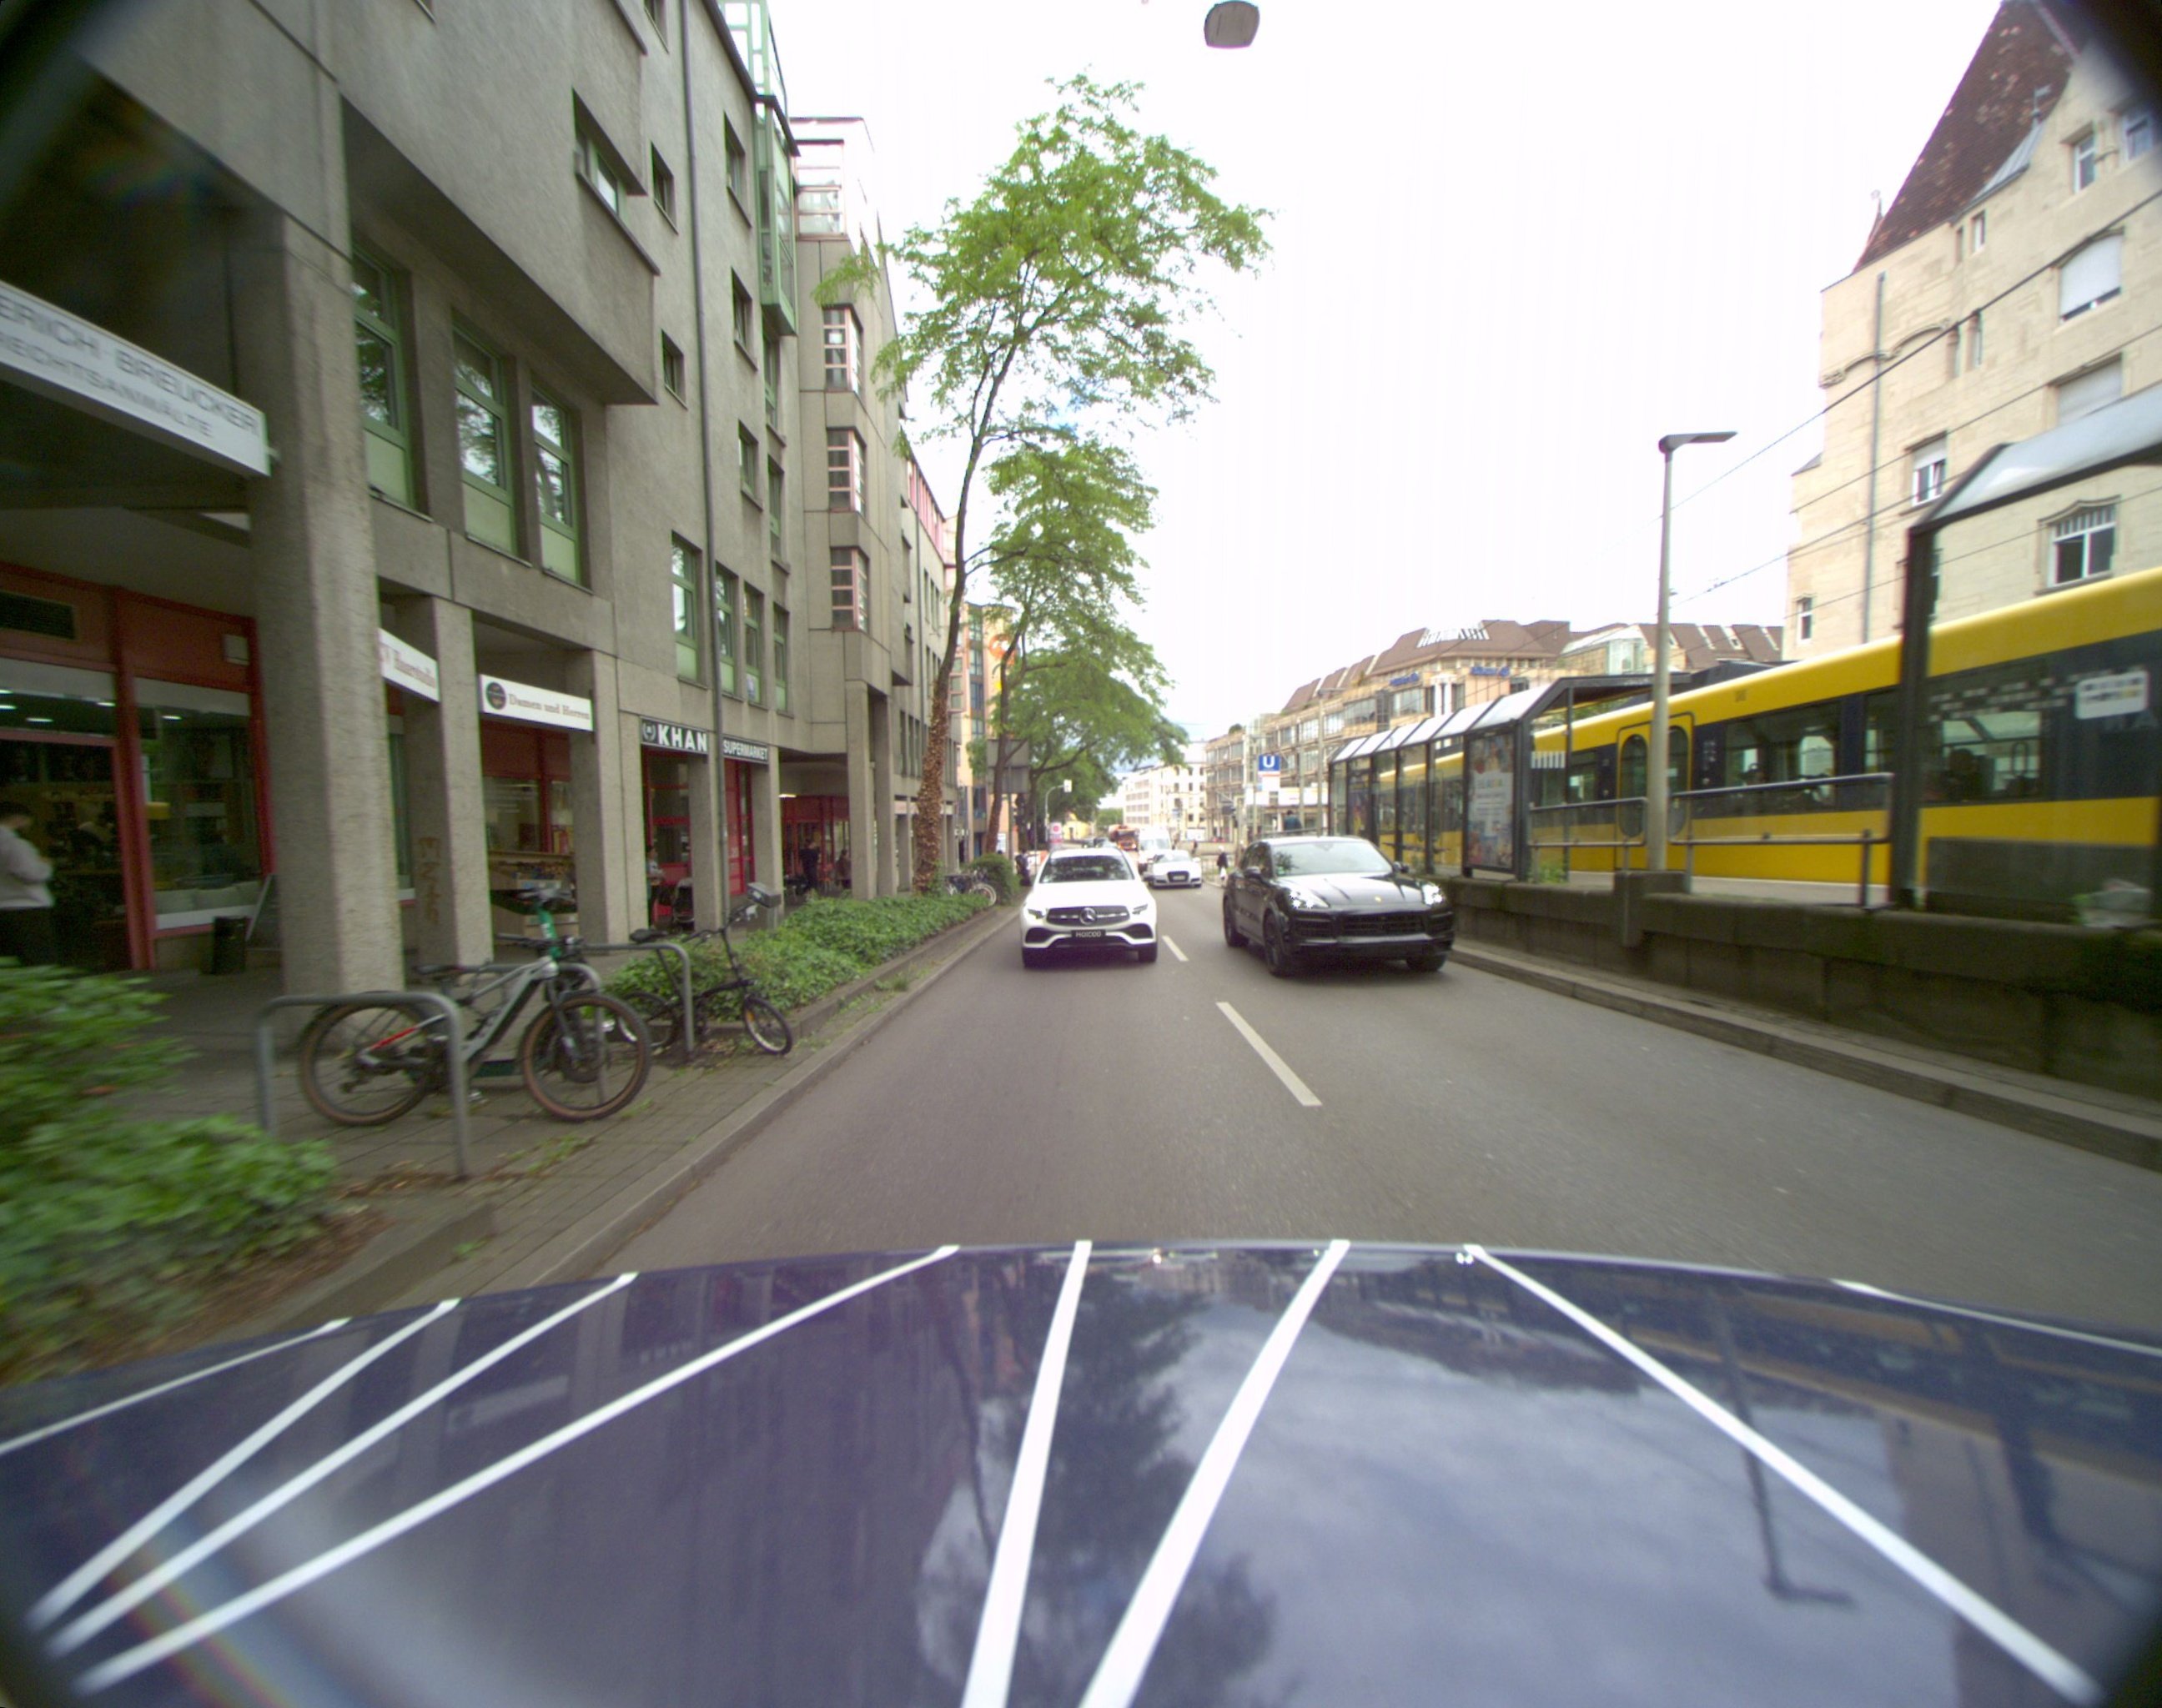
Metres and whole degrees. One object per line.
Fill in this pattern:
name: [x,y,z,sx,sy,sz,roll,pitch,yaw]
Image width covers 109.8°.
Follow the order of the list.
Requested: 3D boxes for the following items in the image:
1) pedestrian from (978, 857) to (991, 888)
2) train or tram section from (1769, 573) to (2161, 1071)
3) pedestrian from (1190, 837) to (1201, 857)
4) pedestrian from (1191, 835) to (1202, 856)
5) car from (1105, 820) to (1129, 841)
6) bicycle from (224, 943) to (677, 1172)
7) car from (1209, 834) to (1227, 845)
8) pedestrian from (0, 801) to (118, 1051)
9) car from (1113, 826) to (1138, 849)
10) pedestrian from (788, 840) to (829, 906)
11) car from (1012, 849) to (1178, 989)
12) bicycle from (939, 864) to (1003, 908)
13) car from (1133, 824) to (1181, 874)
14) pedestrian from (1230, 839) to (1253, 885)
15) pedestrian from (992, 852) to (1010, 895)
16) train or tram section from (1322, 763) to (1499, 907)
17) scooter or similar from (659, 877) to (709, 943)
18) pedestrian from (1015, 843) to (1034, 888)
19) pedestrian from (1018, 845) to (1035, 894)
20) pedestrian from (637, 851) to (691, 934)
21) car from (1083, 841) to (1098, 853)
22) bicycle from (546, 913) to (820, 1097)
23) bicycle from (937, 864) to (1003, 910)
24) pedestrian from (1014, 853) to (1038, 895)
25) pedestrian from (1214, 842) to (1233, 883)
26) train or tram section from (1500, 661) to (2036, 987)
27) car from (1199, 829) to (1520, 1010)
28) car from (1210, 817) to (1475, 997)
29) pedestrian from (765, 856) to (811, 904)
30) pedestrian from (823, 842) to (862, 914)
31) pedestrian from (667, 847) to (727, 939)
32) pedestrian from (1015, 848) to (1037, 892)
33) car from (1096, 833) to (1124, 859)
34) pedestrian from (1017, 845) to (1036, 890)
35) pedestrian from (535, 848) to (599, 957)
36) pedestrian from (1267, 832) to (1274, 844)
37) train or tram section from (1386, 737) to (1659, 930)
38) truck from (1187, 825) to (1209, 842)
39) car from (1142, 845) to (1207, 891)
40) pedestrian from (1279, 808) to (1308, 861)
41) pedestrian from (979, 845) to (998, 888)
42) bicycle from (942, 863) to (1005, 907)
pedestrian: [-4.235,0.821,33.470,0.472,1.326,0.519,-3,2,-3]
train or tram section: [9.024,-0.273,5.546,2.842,3.501,5.751,-2,1,2]
pedestrian: [9.868,-0.595,65.546,0.766,1.712,0.637,-1,2,1]
pedestrian: [9.850,-0.742,64.891,0.793,1.712,0.772,-1,2,1]
car: [5.013,-3.295,106.827,2.504,2.793,5.724,-3,2,-4]
bicycle: [-3.330,1.071,4.139,1.921,1.070,0.613,1,1,-2]
car: [22.506,-2.367,125.007,1.678,1.749,4.778,-3,2,-5]
pedestrian: [-8.135,0.516,5.718,0.833,1.792,0.724,1,-1,4]
car: [5.808,-2.200,99.447,2.504,2.793,5.724,-3,2,-4]
pedestrian: [-7.478,0.519,20.864,0.834,1.792,0.723,1,-1,1]
car: [0.023,0.815,11.696,2.061,1.599,3.923,-3,2,-5]
bicycle: [-2.974,0.860,20.656,1.713,1.177,0.448,0,1,-6]
car: [4.528,-0.378,46.051,2.281,2.744,5.938,-2,2,1]
pedestrian: [6.116,0.288,28.998,0.687,1.701,0.711,-1,1,1]
pedestrian: [-3.029,0.735,28.787,0.618,1.602,0.764,0,-1,-9]
train or tram section: [9.568,-0.547,22.839,2.842,3.658,5.751,-2,1,2]
scooter or similar: [-7.403,1.018,14.160,0.765,1.103,0.856,-1,3,-31]
pedestrian: [-2.418,0.495,32.749,0.736,1.864,0.733,-2,2,-3]
pedestrian: [-2.037,0.587,28.482,0.520,1.779,0.764,-3,2,-3]
pedestrian: [-8.291,0.759,15.124,0.617,1.602,0.765,0,-1,5]
car: [1.273,-1.017,108.204,1.949,1.522,3.998,-2,2,-1]
bicycle: [-2.758,1.019,5.344,1.623,1.121,0.613,1,1,5]
bicycle: [-2.932,0.869,20.187,1.713,1.177,0.448,0,1,-6]
pedestrian: [-2.112,0.759,29.082,0.838,1.554,0.764,-3,2,-3]
pedestrian: [5.964,0.347,31.790,0.637,1.701,0.871,-1,1,1]
train or tram section: [9.224,-0.363,11.324,2.842,3.501,5.751,-2,1,2]
car: [3.135,0.619,10.049,2.088,1.665,5.350,-2,0,-2]
car: [3.457,0.538,11.347,2.370,2.002,5.147,-2,2,3]
pedestrian: [-8.364,0.736,21.727,1.059,1.356,0.756,0,1,-5]
pedestrian: [-6.042,0.599,19.260,0.764,1.773,0.847,0,1,-4]
pedestrian: [-7.577,0.748,15.010,0.675,1.714,0.766,1,5,42]
pedestrian: [-2.182,0.618,30.023,0.838,1.694,0.764,0,1,-3]
car: [2.698,-0.796,71.339,2.503,2.145,5.726,-2,2,2]
pedestrian: [-2.227,0.539,31.231,0.695,1.767,0.689,3,2,-3]
pedestrian: [-7.843,0.725,11.623,0.619,1.602,0.778,0,-1,-20]
pedestrian: [28.265,-2.384,113.121,0.732,1.801,0.739,-3,2,-4]
train or tram section: [9.400,-0.423,17.077,2.842,3.501,5.751,-2,1,2]
truck: [21.526,-3.805,140.670,2.273,3.059,7.368,0,2,-5]
car: [3.626,0.493,30.175,1.950,1.522,3.998,-3,2,-2]
pedestrian: [7.036,-0.648,25.177,0.719,1.721,0.670,-2,2,3]
pedestrian: [-3.932,0.549,32.366,0.723,1.792,0.834,1,-1,-3]
bicycle: [-2.986,0.854,21.110,1.713,1.177,0.448,0,1,-6]
